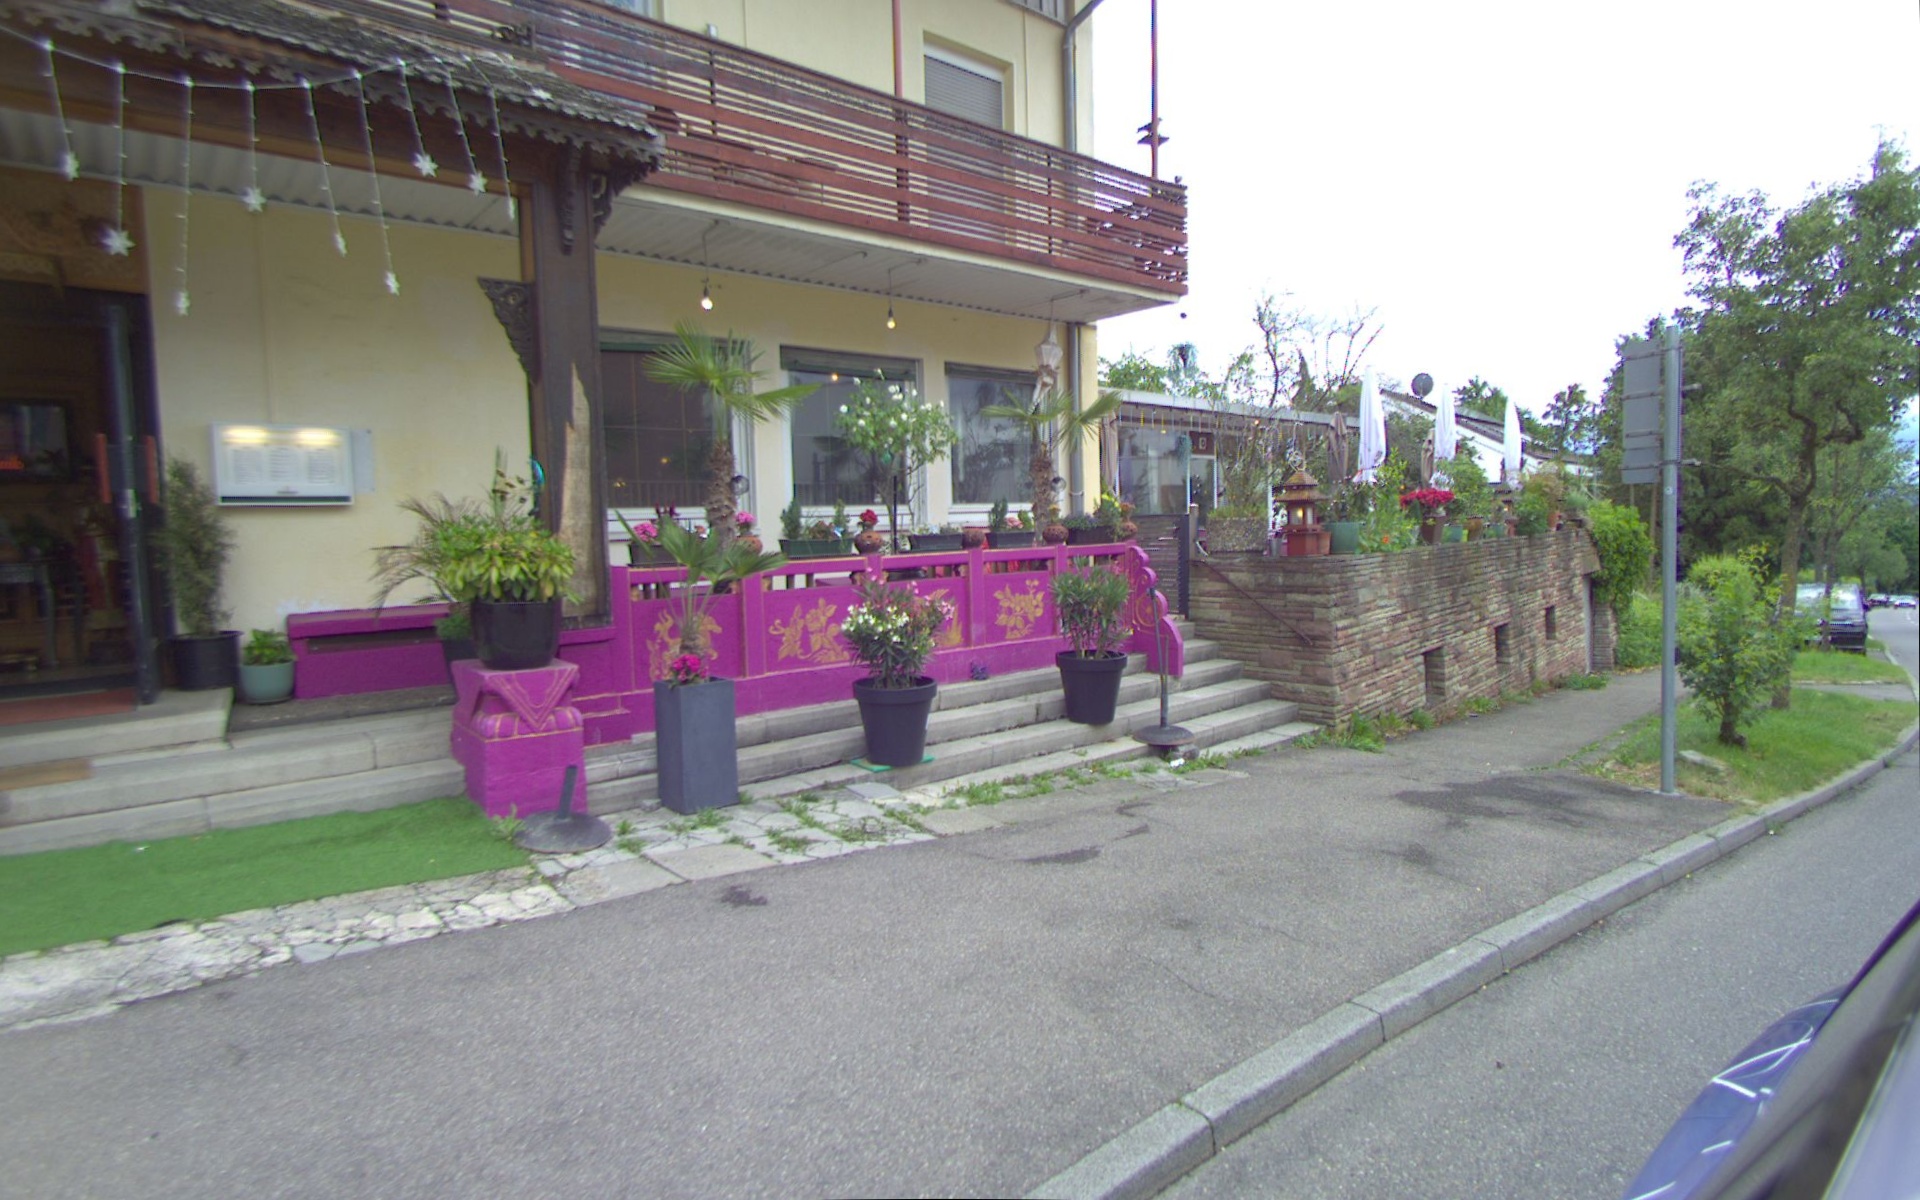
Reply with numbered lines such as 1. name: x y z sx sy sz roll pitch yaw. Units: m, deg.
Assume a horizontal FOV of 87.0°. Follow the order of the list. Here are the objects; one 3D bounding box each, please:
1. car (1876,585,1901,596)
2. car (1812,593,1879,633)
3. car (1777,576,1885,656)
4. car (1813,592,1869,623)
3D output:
1. car: 112.314 -1.148 122.398 1.995 1.243 3.936 4 3 44
2. car: 37.577 0.517 42.942 1.993 1.510 4.928 3 2 42
3. car: 22.700 0.345 26.377 1.935 1.860 5.140 2 2 41
4. car: 50.634 0.381 58.264 1.996 1.628 4.695 3 2 37
